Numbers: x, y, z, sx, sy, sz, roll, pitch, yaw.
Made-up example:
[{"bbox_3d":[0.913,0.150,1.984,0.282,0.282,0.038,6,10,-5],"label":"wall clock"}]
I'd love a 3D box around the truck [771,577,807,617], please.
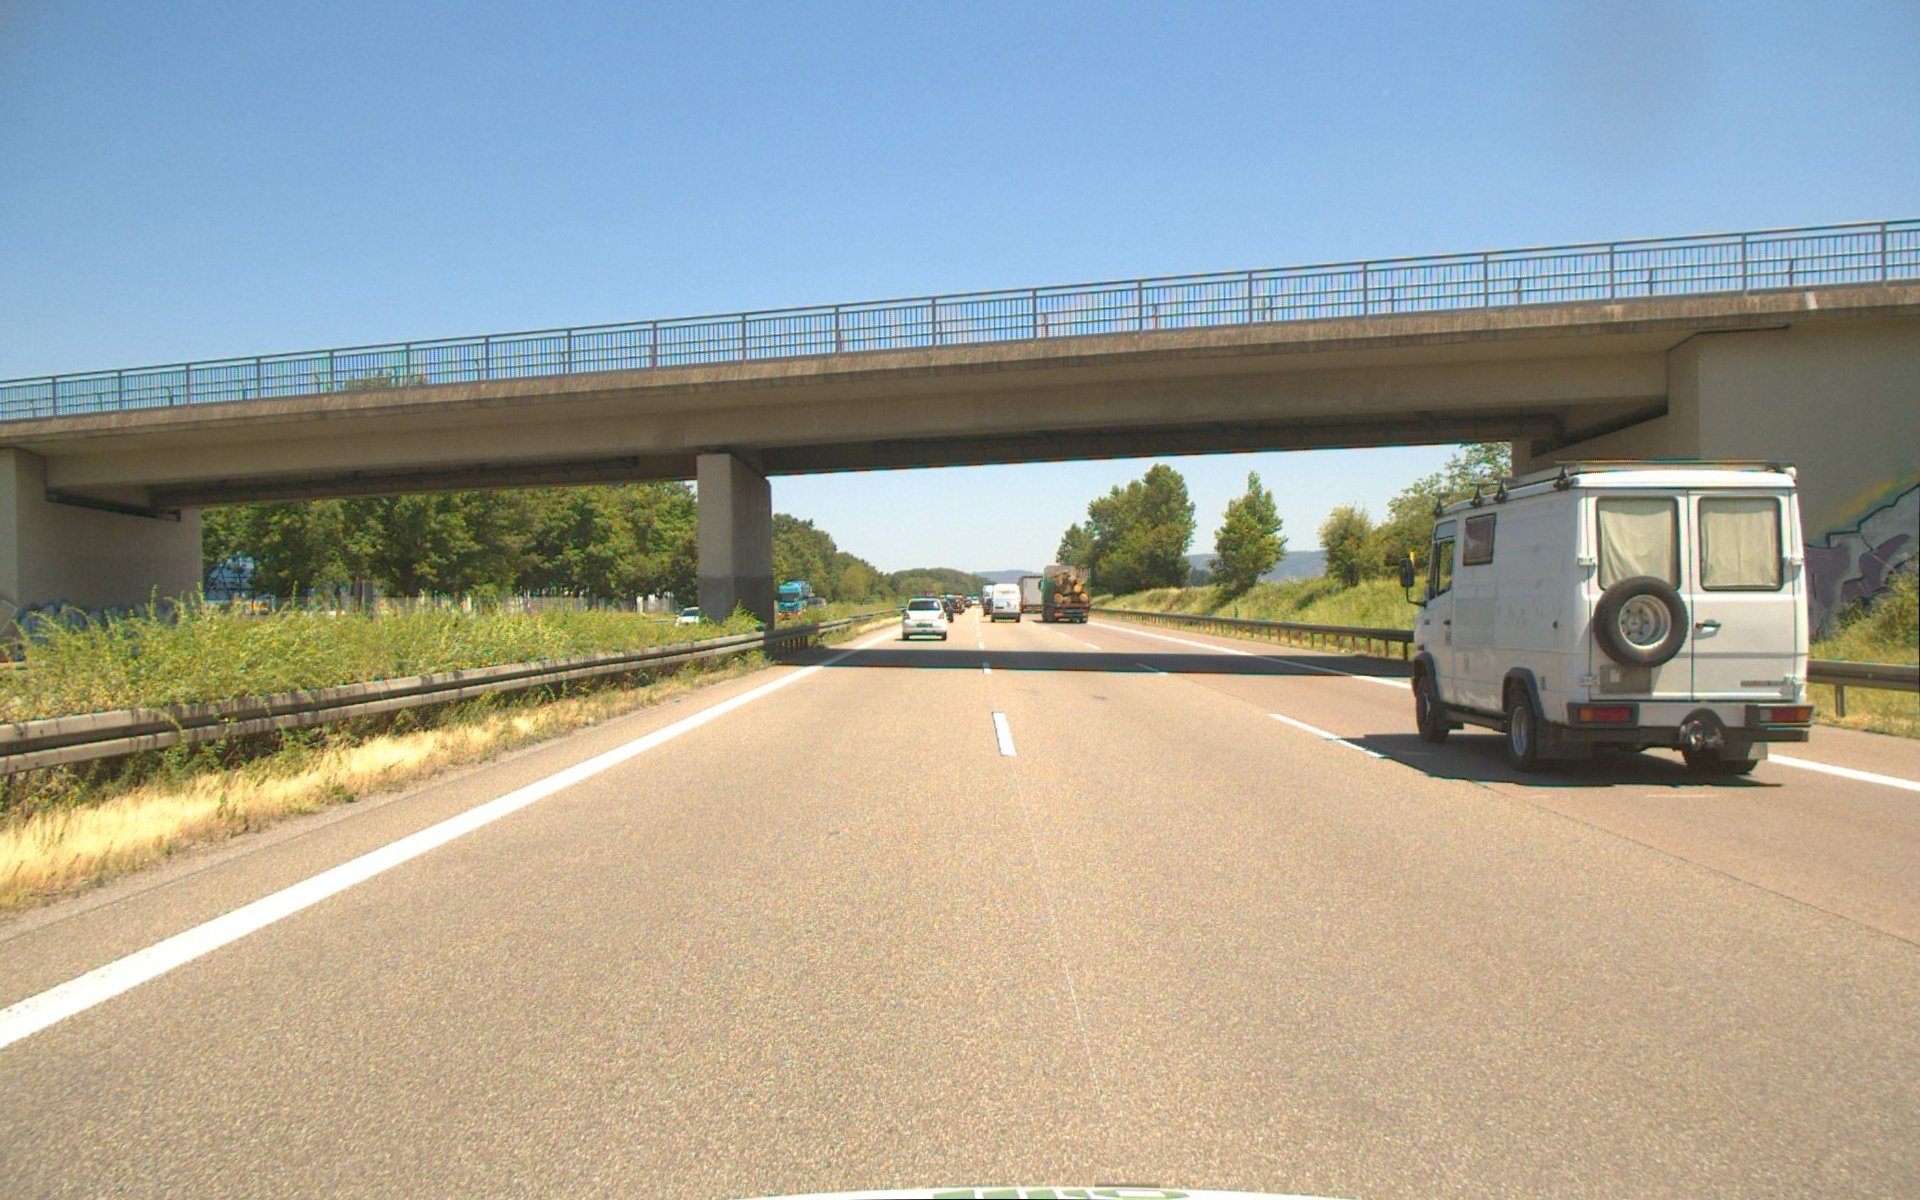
[{"bbox_3d":[-17.962,-0.303,174.484,2.820,4.044,7.372,-4,0,0],"label":"truck"}]

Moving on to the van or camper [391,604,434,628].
[{"bbox_3d":[-61.557,1.782,185.987,2.309,2.597,7.724,-2,0,-1],"label":"van or camper"}]

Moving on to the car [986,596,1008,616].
[{"bbox_3d":[3.278,0.539,147.715,1.819,1.681,3.999,0,0,-1],"label":"car"}]

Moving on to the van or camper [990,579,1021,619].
[{"bbox_3d":[3.076,-0.050,112.902,2.016,2.668,5.985,0,0,1],"label":"van or camper"}]

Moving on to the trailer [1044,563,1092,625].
[{"bbox_3d":[7.333,-0.381,113.753,2.598,4.028,13.637,0,0,1],"label":"trailer"}]

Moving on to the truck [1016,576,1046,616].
[{"bbox_3d":[8.124,-0.409,190.491,3.015,4.283,16.845,1,0,1],"label":"truck"}]

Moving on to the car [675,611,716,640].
[{"bbox_3d":[-13.589,1.293,84.951,1.483,1.411,3.167,1,0,2],"label":"car"}]

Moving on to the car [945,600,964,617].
[{"bbox_3d":[-0.534,0.821,162.461,1.819,1.681,3.999,0,0,-1],"label":"car"}]

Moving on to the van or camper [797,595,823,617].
[{"bbox_3d":[-13.784,0.583,151.942,1.953,1.902,4.455,-2,0,-1],"label":"van or camper"}]

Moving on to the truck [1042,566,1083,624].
[{"bbox_3d":[7.448,-0.349,120.787,2.615,4.064,6.636,0,0,1],"label":"truck"}]

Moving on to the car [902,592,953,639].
[{"bbox_3d":[-1.212,0.580,62.114,1.819,1.681,3.999,1,0,-1],"label":"car"}]

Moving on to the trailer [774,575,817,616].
[{"bbox_3d":[-17.992,-0.456,182.059,2.820,4.047,17.473,-4,0,0],"label":"trailer"}]

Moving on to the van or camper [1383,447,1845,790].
[{"bbox_3d":[6.079,0.165,16.490,2.070,2.750,6.367,0,0,0],"label":"van or camper"}]
